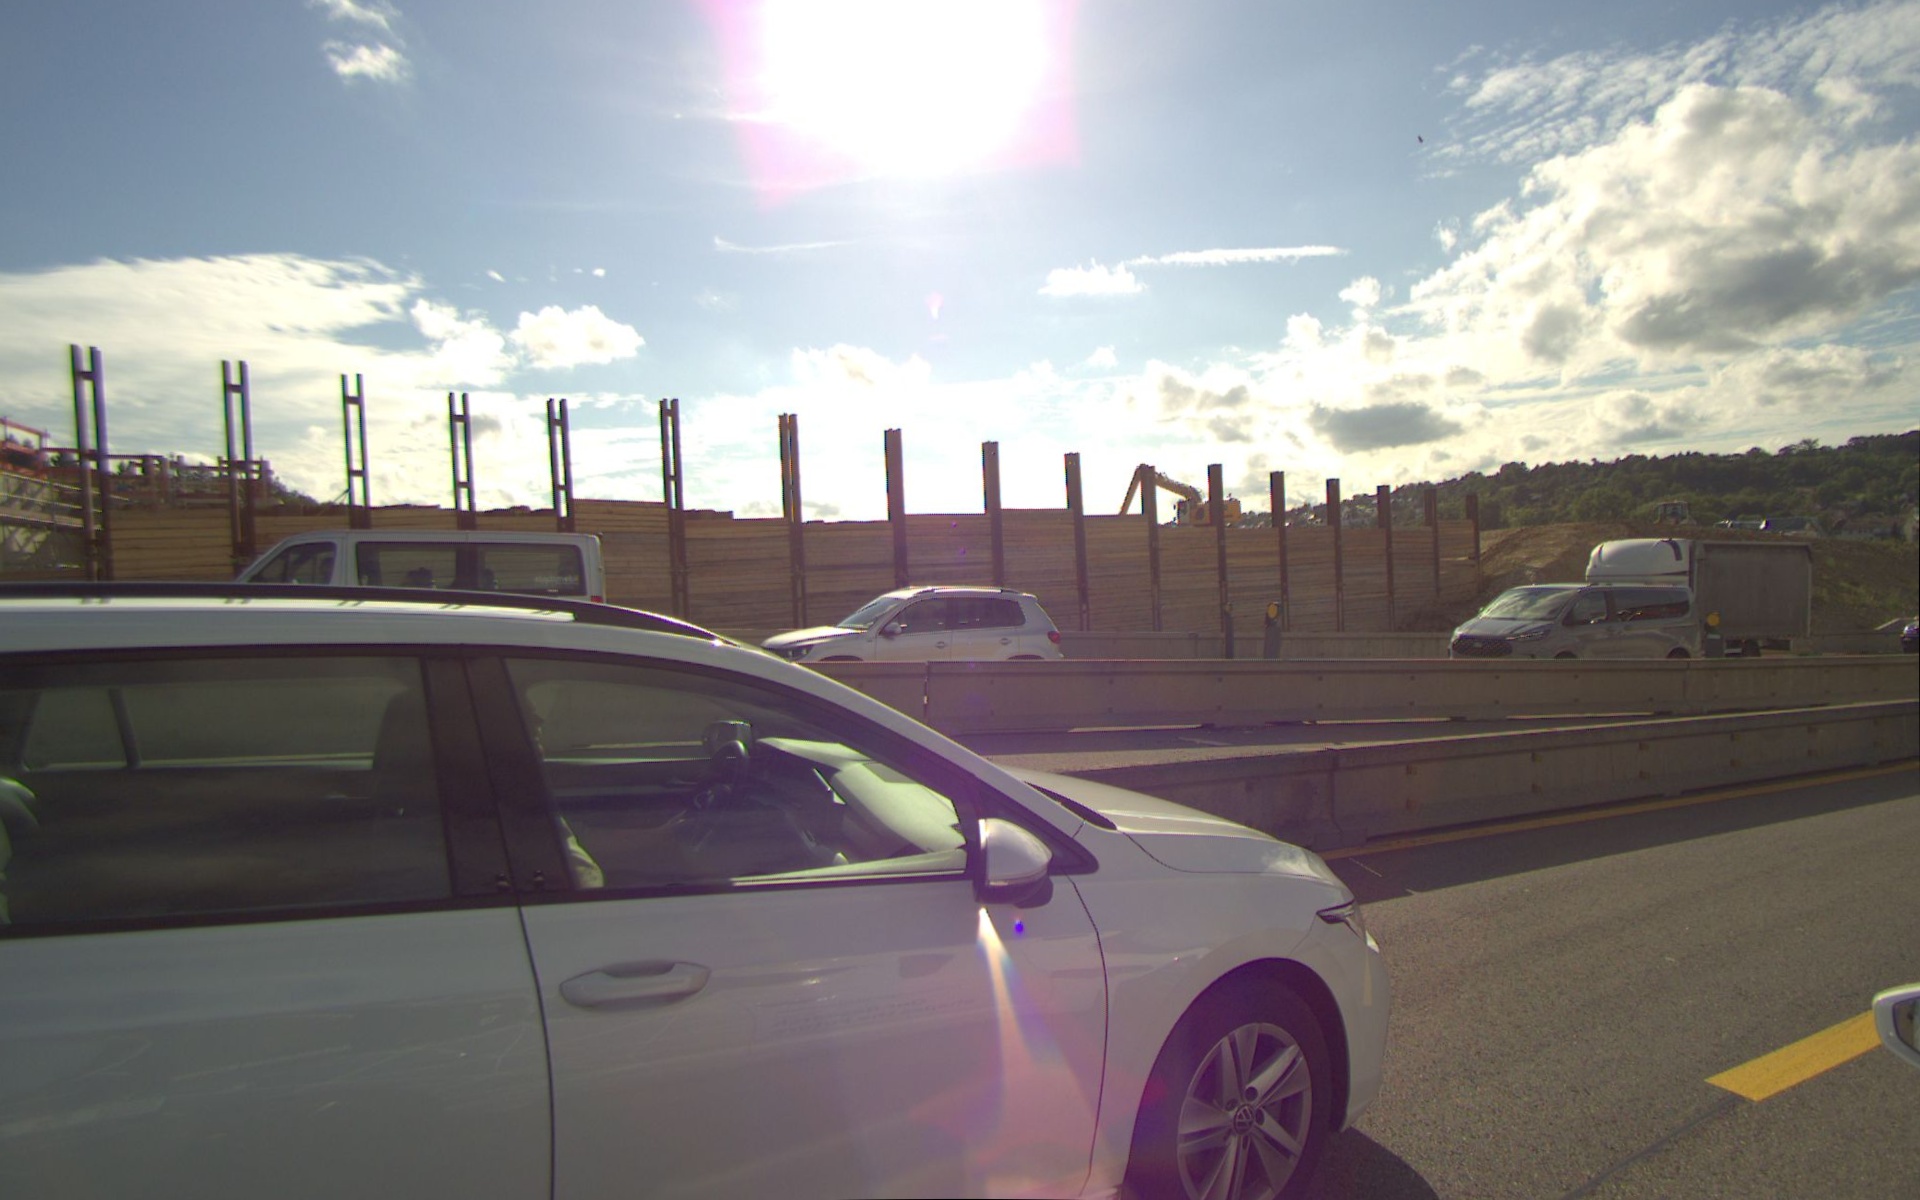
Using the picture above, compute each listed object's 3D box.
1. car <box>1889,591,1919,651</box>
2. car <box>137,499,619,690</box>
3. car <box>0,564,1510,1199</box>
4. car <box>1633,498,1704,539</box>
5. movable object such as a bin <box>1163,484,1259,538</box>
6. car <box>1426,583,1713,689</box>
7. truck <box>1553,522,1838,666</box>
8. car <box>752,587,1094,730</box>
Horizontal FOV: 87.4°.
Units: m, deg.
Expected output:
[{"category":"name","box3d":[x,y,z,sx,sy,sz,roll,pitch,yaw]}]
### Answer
[{"category":"car","box3d":[31.359,0.682,31.424,4.387,1.828,1.986,1,0,-27]},{"category":"car","box3d":[-8.196,0.016,14.962,5.781,2.434,2.254,2,0,-21]},{"category":"car","box3d":[-0.885,0.740,2.331,4.463,1.511,1.762,1,-1,-30]},{"category":"car","box3d":[48.461,-5.522,68.685,5.262,2.168,1.984,2,-5,-32]},{"category":"movable object such as a bin","box3d":[18.577,-6.543,74.761,4.441,3.314,5.740,2,0,-19]},{"category":"car","box3d":[11.424,0.608,18.821,4.959,1.789,2.121,0,1,-23]},{"category":"truck","box3d":[19.372,-0.054,26.401,7.433,3.355,2.693,2,0,-24]},{"category":"car","box3d":[-0.528,0.699,13.741,4.211,1.696,2.121,0,1,-23]}]
